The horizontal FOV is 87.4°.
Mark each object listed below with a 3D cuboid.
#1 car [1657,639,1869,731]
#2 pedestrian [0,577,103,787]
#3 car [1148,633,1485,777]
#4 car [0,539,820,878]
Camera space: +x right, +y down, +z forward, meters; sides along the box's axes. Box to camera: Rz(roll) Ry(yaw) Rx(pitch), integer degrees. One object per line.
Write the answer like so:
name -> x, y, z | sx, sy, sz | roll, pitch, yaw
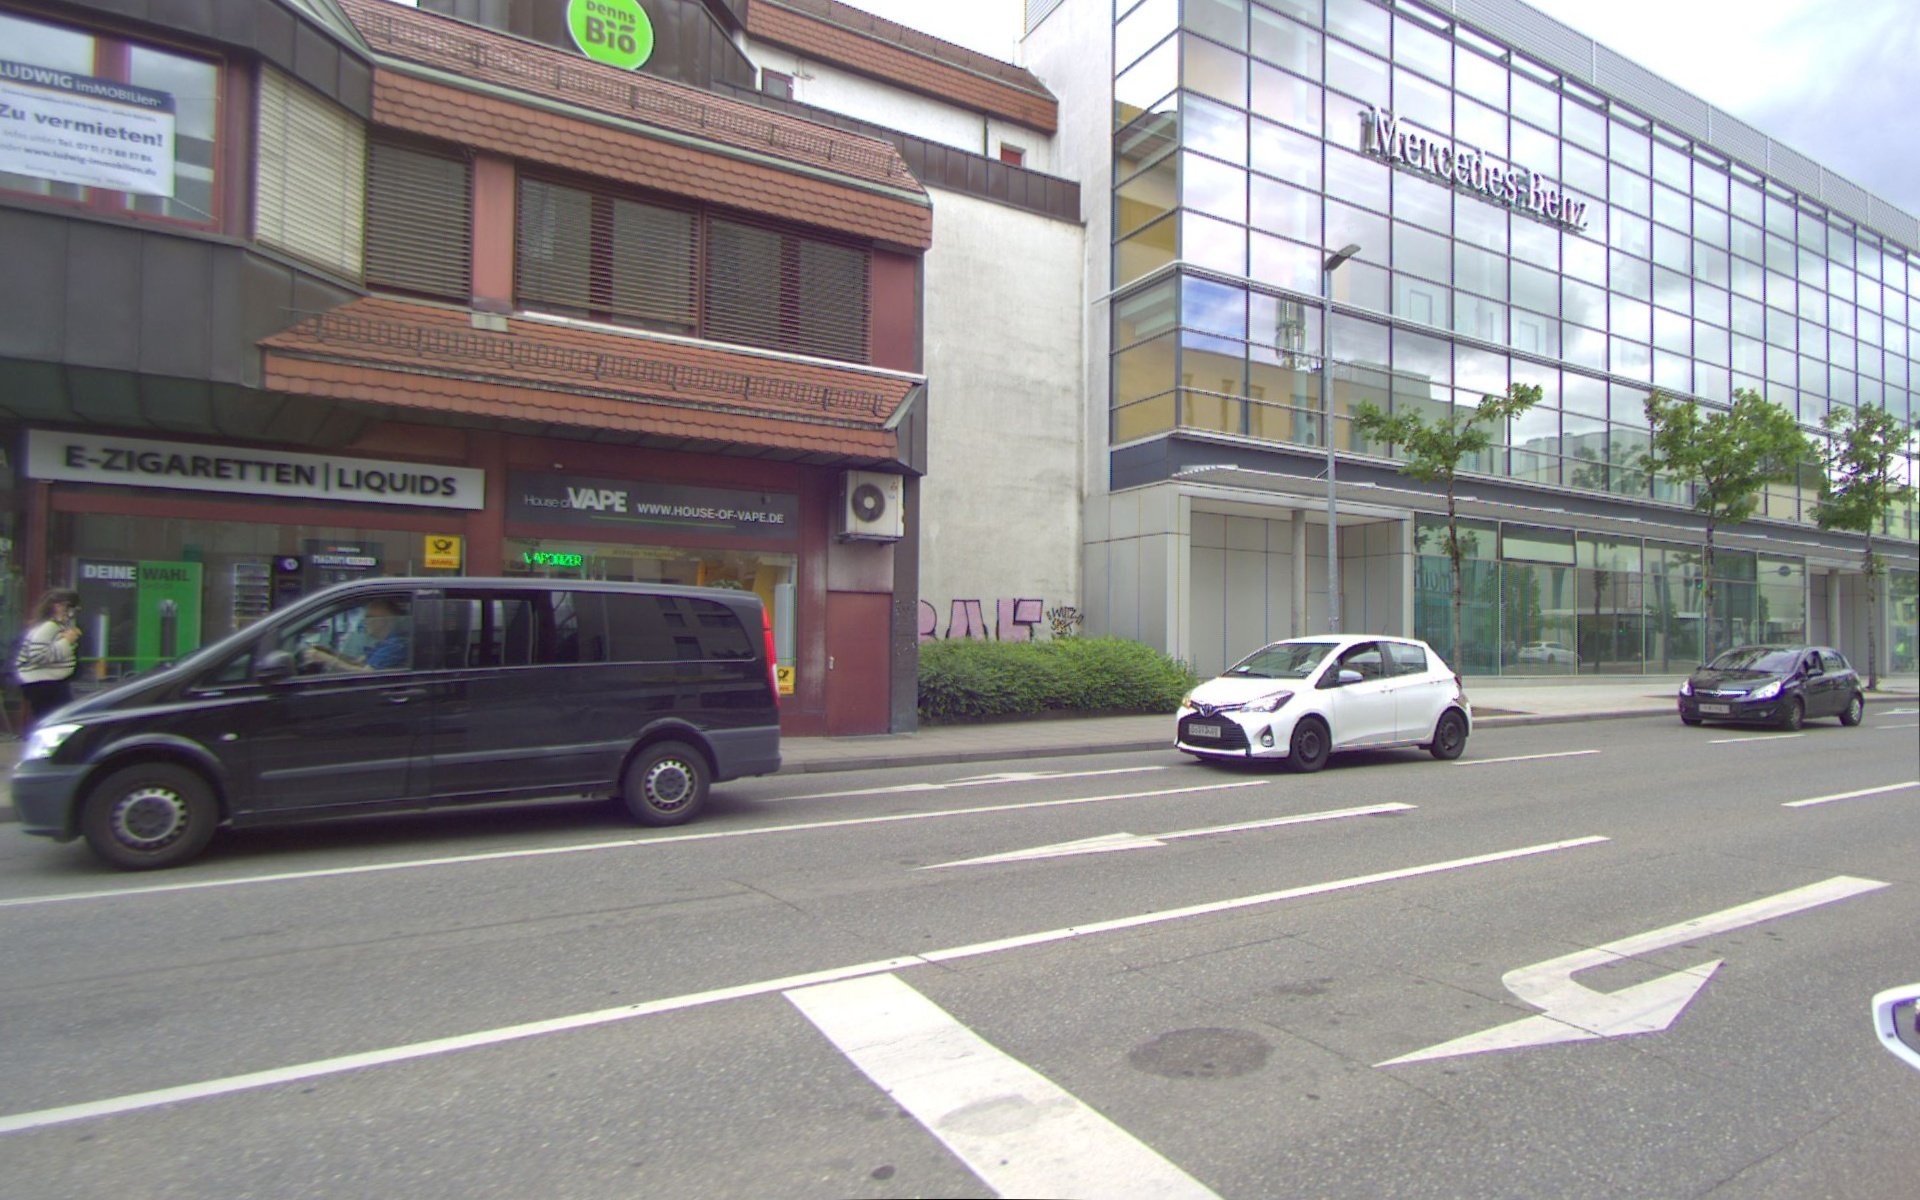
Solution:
car -> 14.604, 1.473, 18.231 | 3.952, 1.499, 1.653 | 1, -3, -30
pedestrian -> -7.904, 0.680, 8.580 | 0.769, 1.715, 0.744 | 1, -2, -34
car -> 4.324, 1.157, 12.077 | 3.952, 1.484, 1.653 | 1, -3, -30
car -> -3.787, 0.710, 7.800 | 5.053, 1.934, 1.857 | 1, -3, -30
